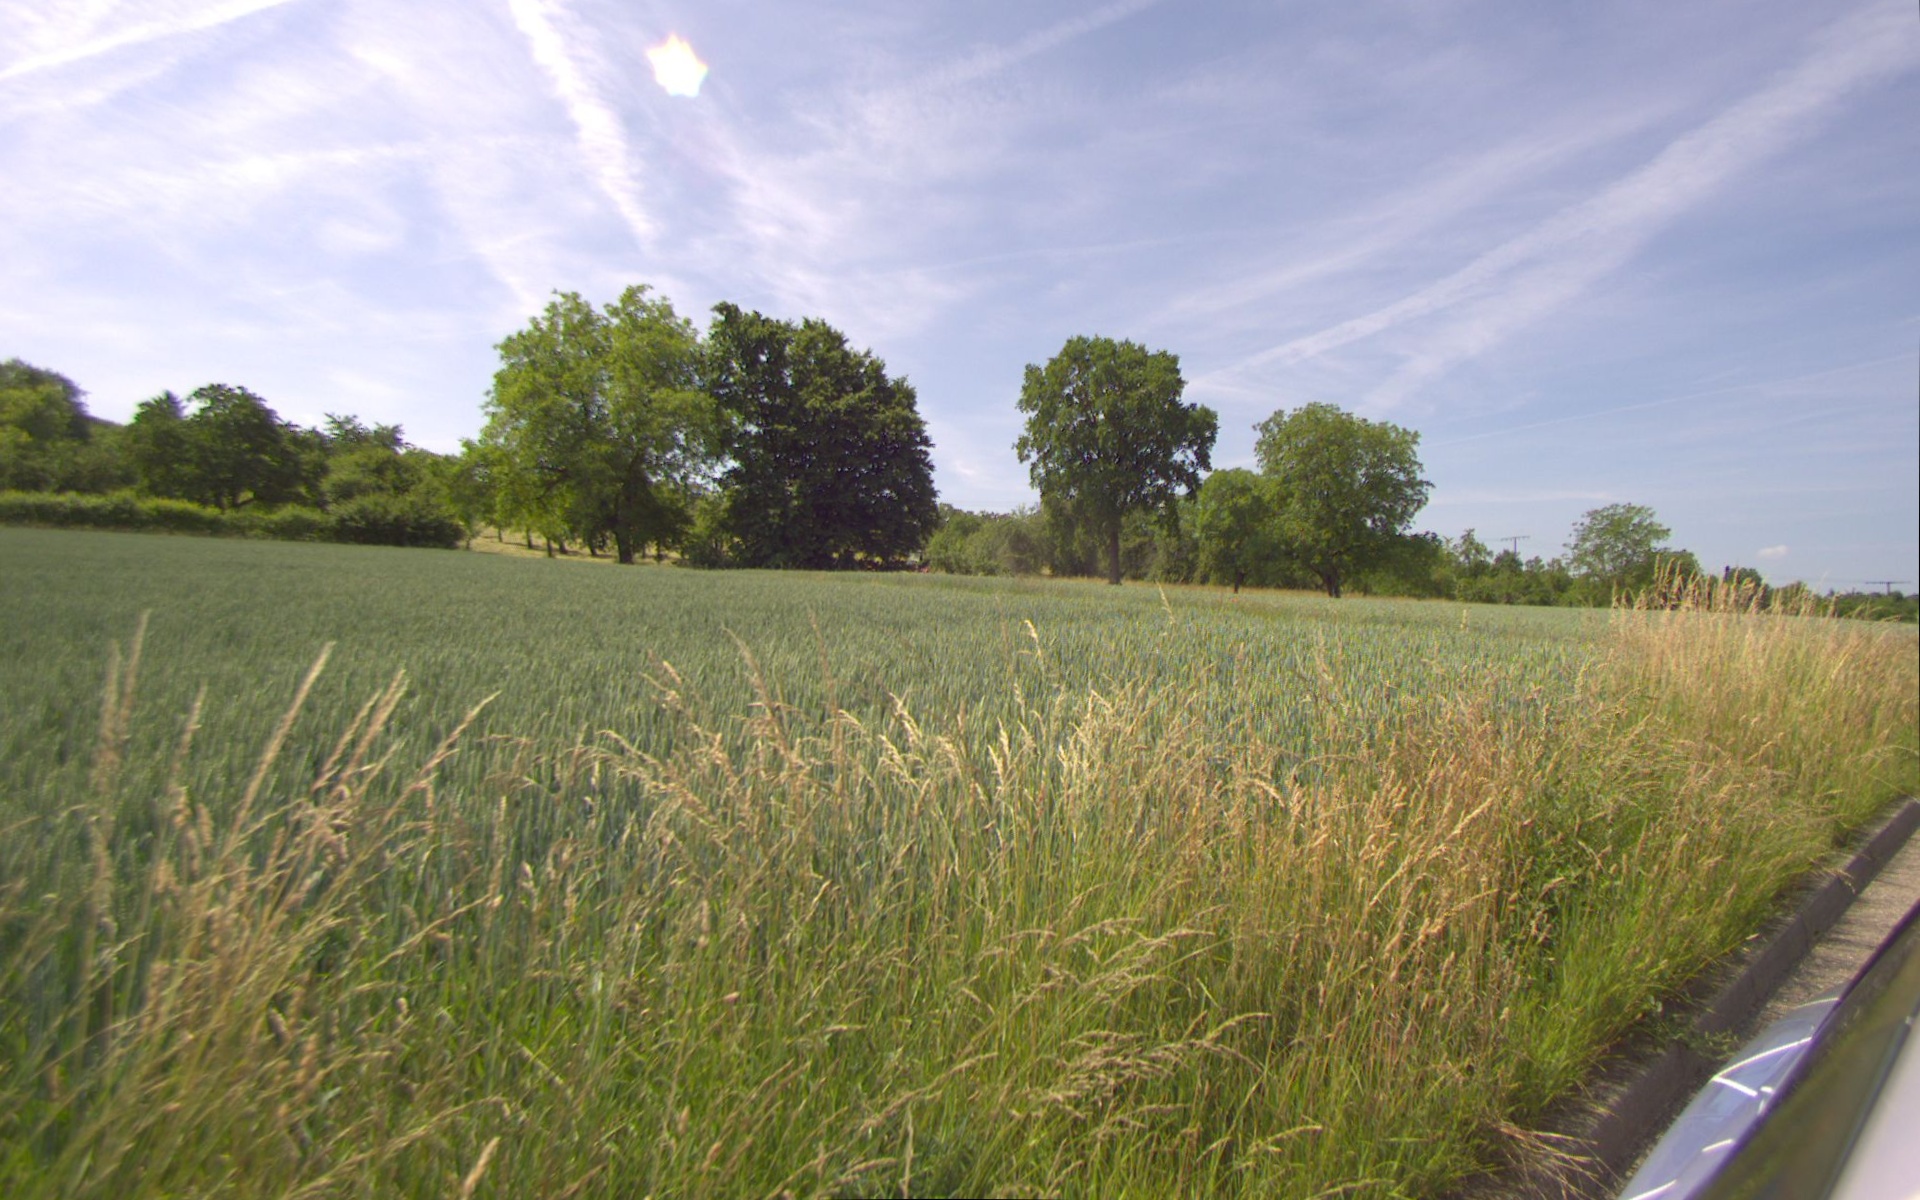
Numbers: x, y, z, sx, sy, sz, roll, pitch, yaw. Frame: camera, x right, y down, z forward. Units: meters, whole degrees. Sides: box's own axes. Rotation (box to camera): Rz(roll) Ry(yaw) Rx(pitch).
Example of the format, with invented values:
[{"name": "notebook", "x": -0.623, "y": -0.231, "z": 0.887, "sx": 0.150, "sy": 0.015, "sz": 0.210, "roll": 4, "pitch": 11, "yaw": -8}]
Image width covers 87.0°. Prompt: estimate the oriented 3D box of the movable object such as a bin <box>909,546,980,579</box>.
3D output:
[{"name": "movable object such as a bin", "x": -1.389, "y": -3.174, "z": 84.717, "sx": 2.400, "sy": 2.398, "sz": 6.576, "roll": 1, "pitch": 3, "yaw": -38}]
